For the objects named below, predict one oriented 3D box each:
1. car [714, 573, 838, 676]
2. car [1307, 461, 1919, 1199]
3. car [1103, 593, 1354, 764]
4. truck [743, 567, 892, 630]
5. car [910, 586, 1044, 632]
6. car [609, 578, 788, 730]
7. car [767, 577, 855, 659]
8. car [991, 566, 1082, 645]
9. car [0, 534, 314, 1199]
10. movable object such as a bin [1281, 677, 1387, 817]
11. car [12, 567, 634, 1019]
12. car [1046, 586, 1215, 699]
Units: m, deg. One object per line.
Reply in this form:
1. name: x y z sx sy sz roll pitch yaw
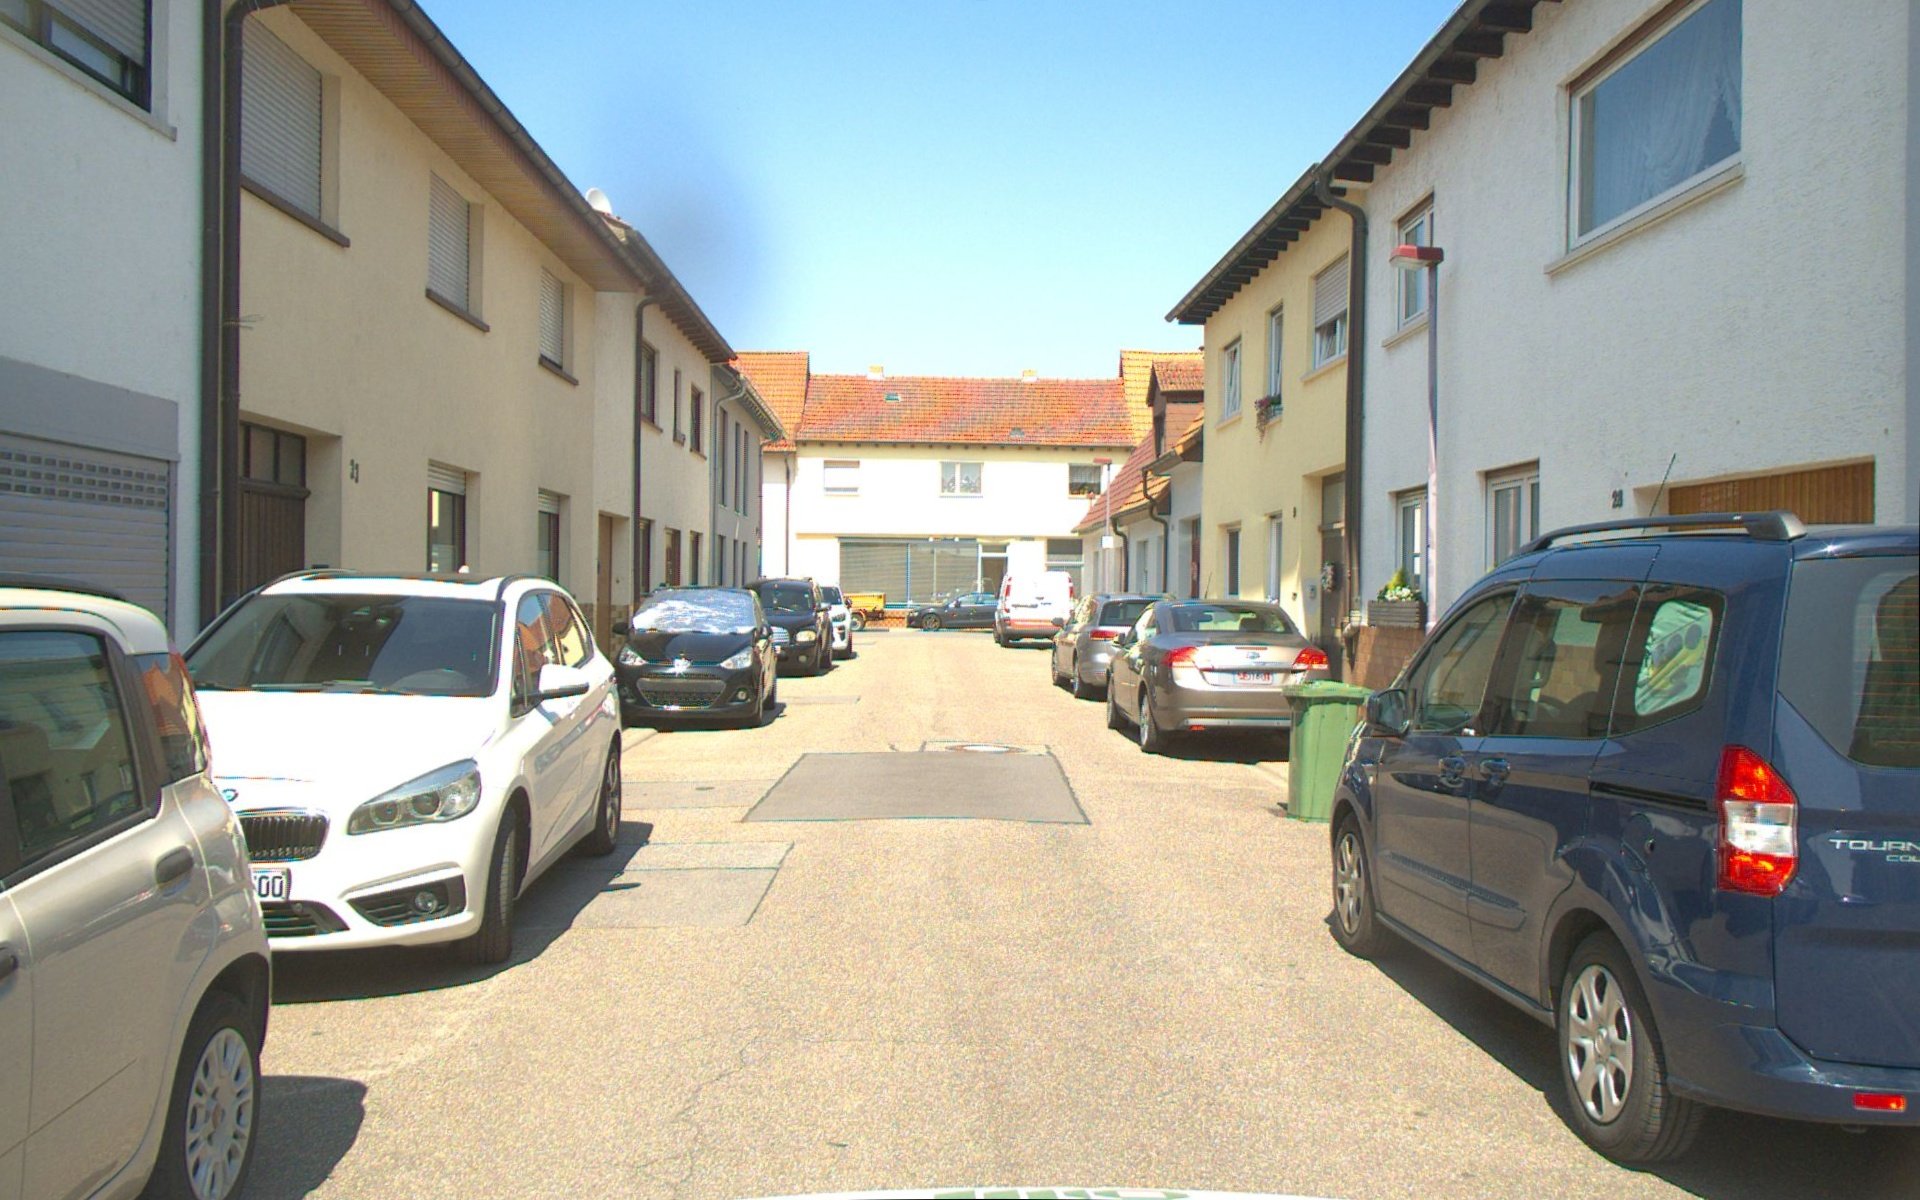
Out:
1. car: -3.113 0.384 28.711 1.687 1.643 3.989 0 0 0
2. car: 2.596 0.605 5.829 1.663 1.808 4.197 2 0 -3
3. car: 2.552 0.685 16.639 1.663 1.460 4.101 2 0 -3
4. truck: -4.895 -0.056 57.288 4.961 2.049 2.189 1 0 -2
5. car: 0.557 0.321 57.405 4.524 1.419 1.926 1 -3 -3
6. car: -2.928 0.553 19.183 1.607 1.564 3.940 0 0 -3
7. car: -3.127 0.350 35.378 1.739 1.643 4.346 0 0 -4
8. car: 1.922 0.129 43.103 1.972 1.871 5.264 2 0 -1
9. car: -2.384 0.680 2.436 1.630 1.568 3.685 0 0 -4
10. movable object such as a bin: 2.568 1.000 11.384 0.539 0.907 0.578 1 0 -8
11. car: -2.622 0.674 7.801 1.630 1.576 3.939 1 0 -4
12. car: 2.419 0.561 24.628 1.802 1.473 4.774 2 0 -3
